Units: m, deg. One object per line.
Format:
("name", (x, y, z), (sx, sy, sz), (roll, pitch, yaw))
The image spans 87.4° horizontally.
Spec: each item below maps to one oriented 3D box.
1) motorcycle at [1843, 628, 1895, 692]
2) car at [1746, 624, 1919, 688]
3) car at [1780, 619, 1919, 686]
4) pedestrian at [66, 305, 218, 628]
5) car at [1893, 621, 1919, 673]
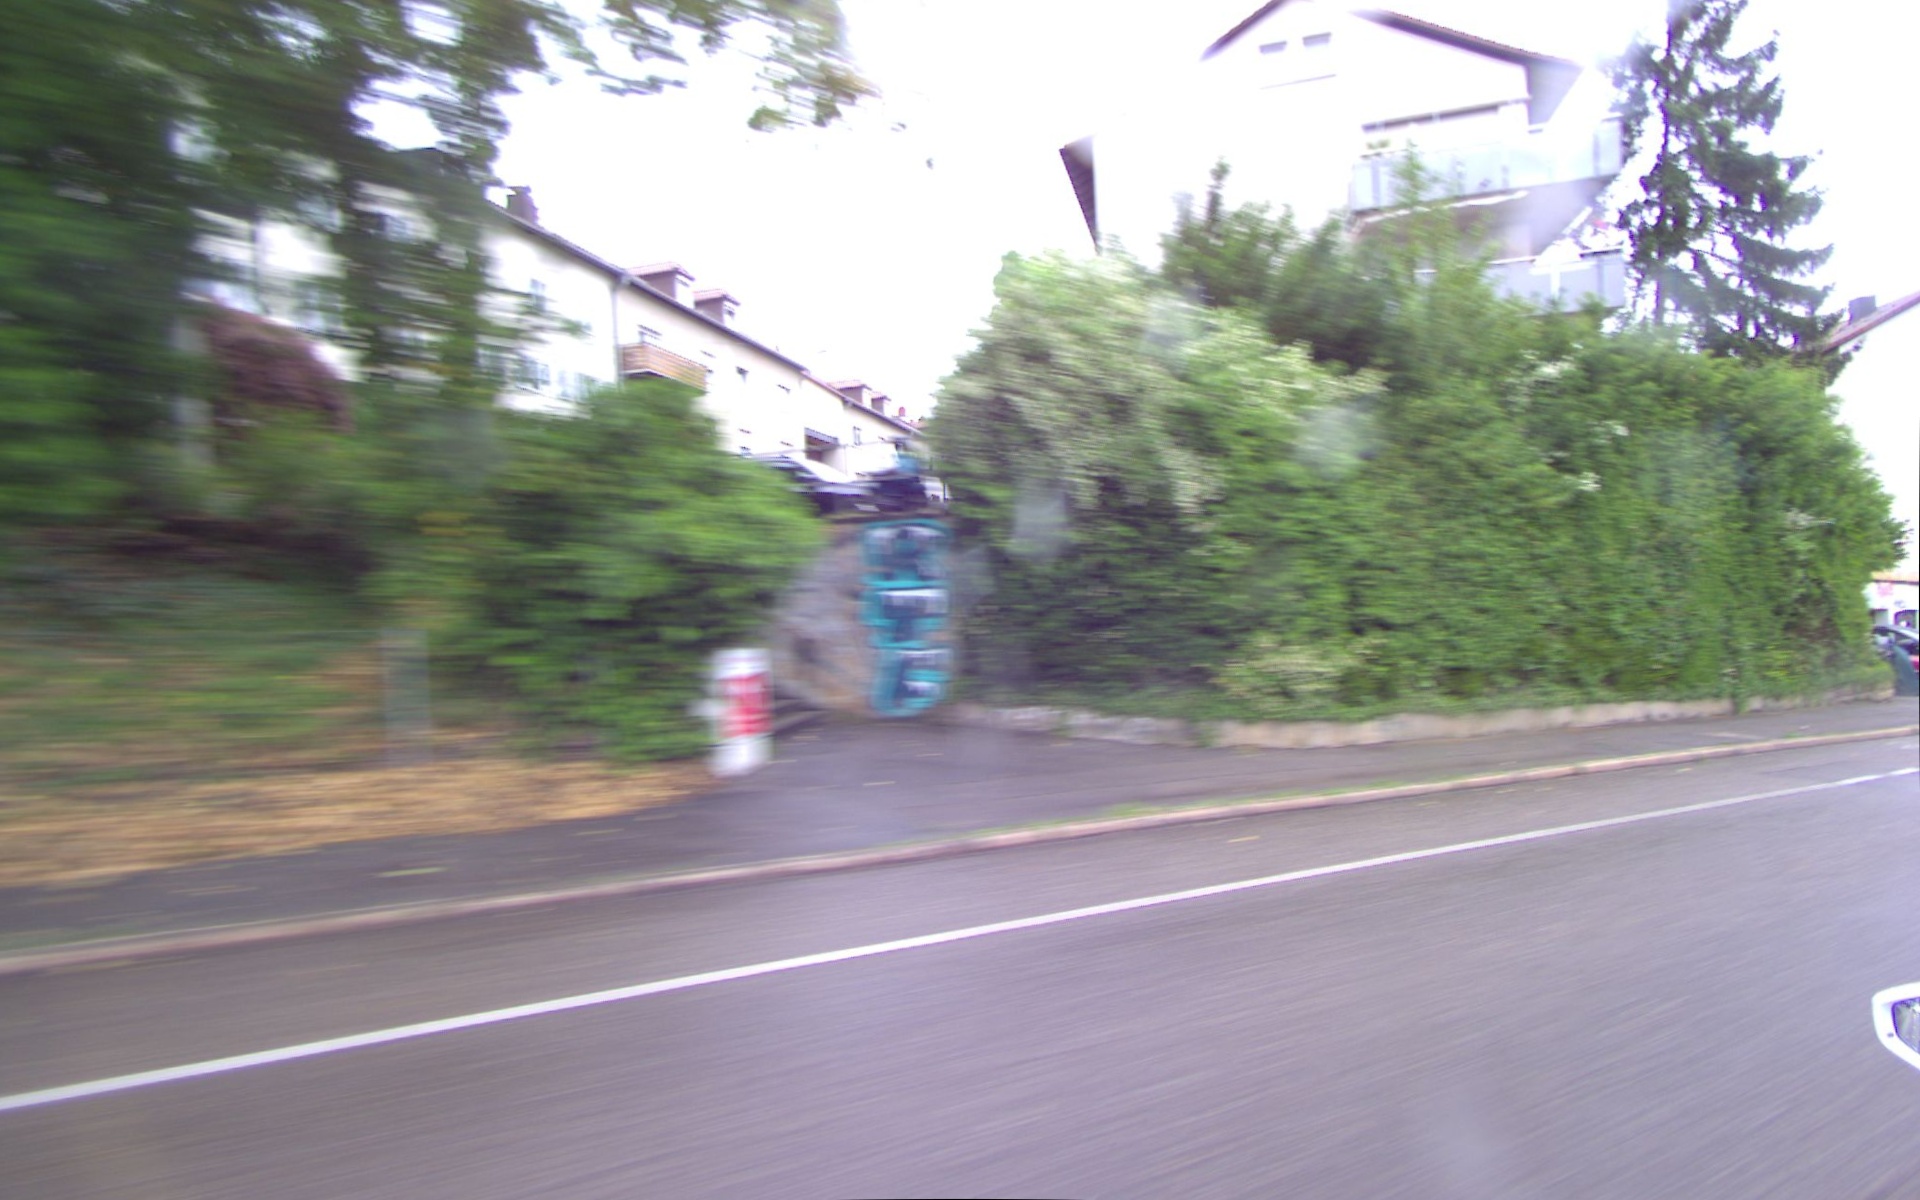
("motorcycle", (19.960, 1.305, 22.042), (2.303, 1.338, 0.611), (3, -2, -42))
("car", (22.063, 1.350, 25.011), (1.700, 1.424, 3.606), (2, -1, -36))
("car", (24.476, 1.339, 26.231), (1.793, 1.624, 4.428), (0, 0, -30))
("pedestrian", (-12.898, -2.038, 15.869), (1.163, 4.812, 1.342), (4, 3, 18))
("car", (31.111, 1.467, 30.361), (1.861, 1.580, 3.963), (2, -1, -33))
